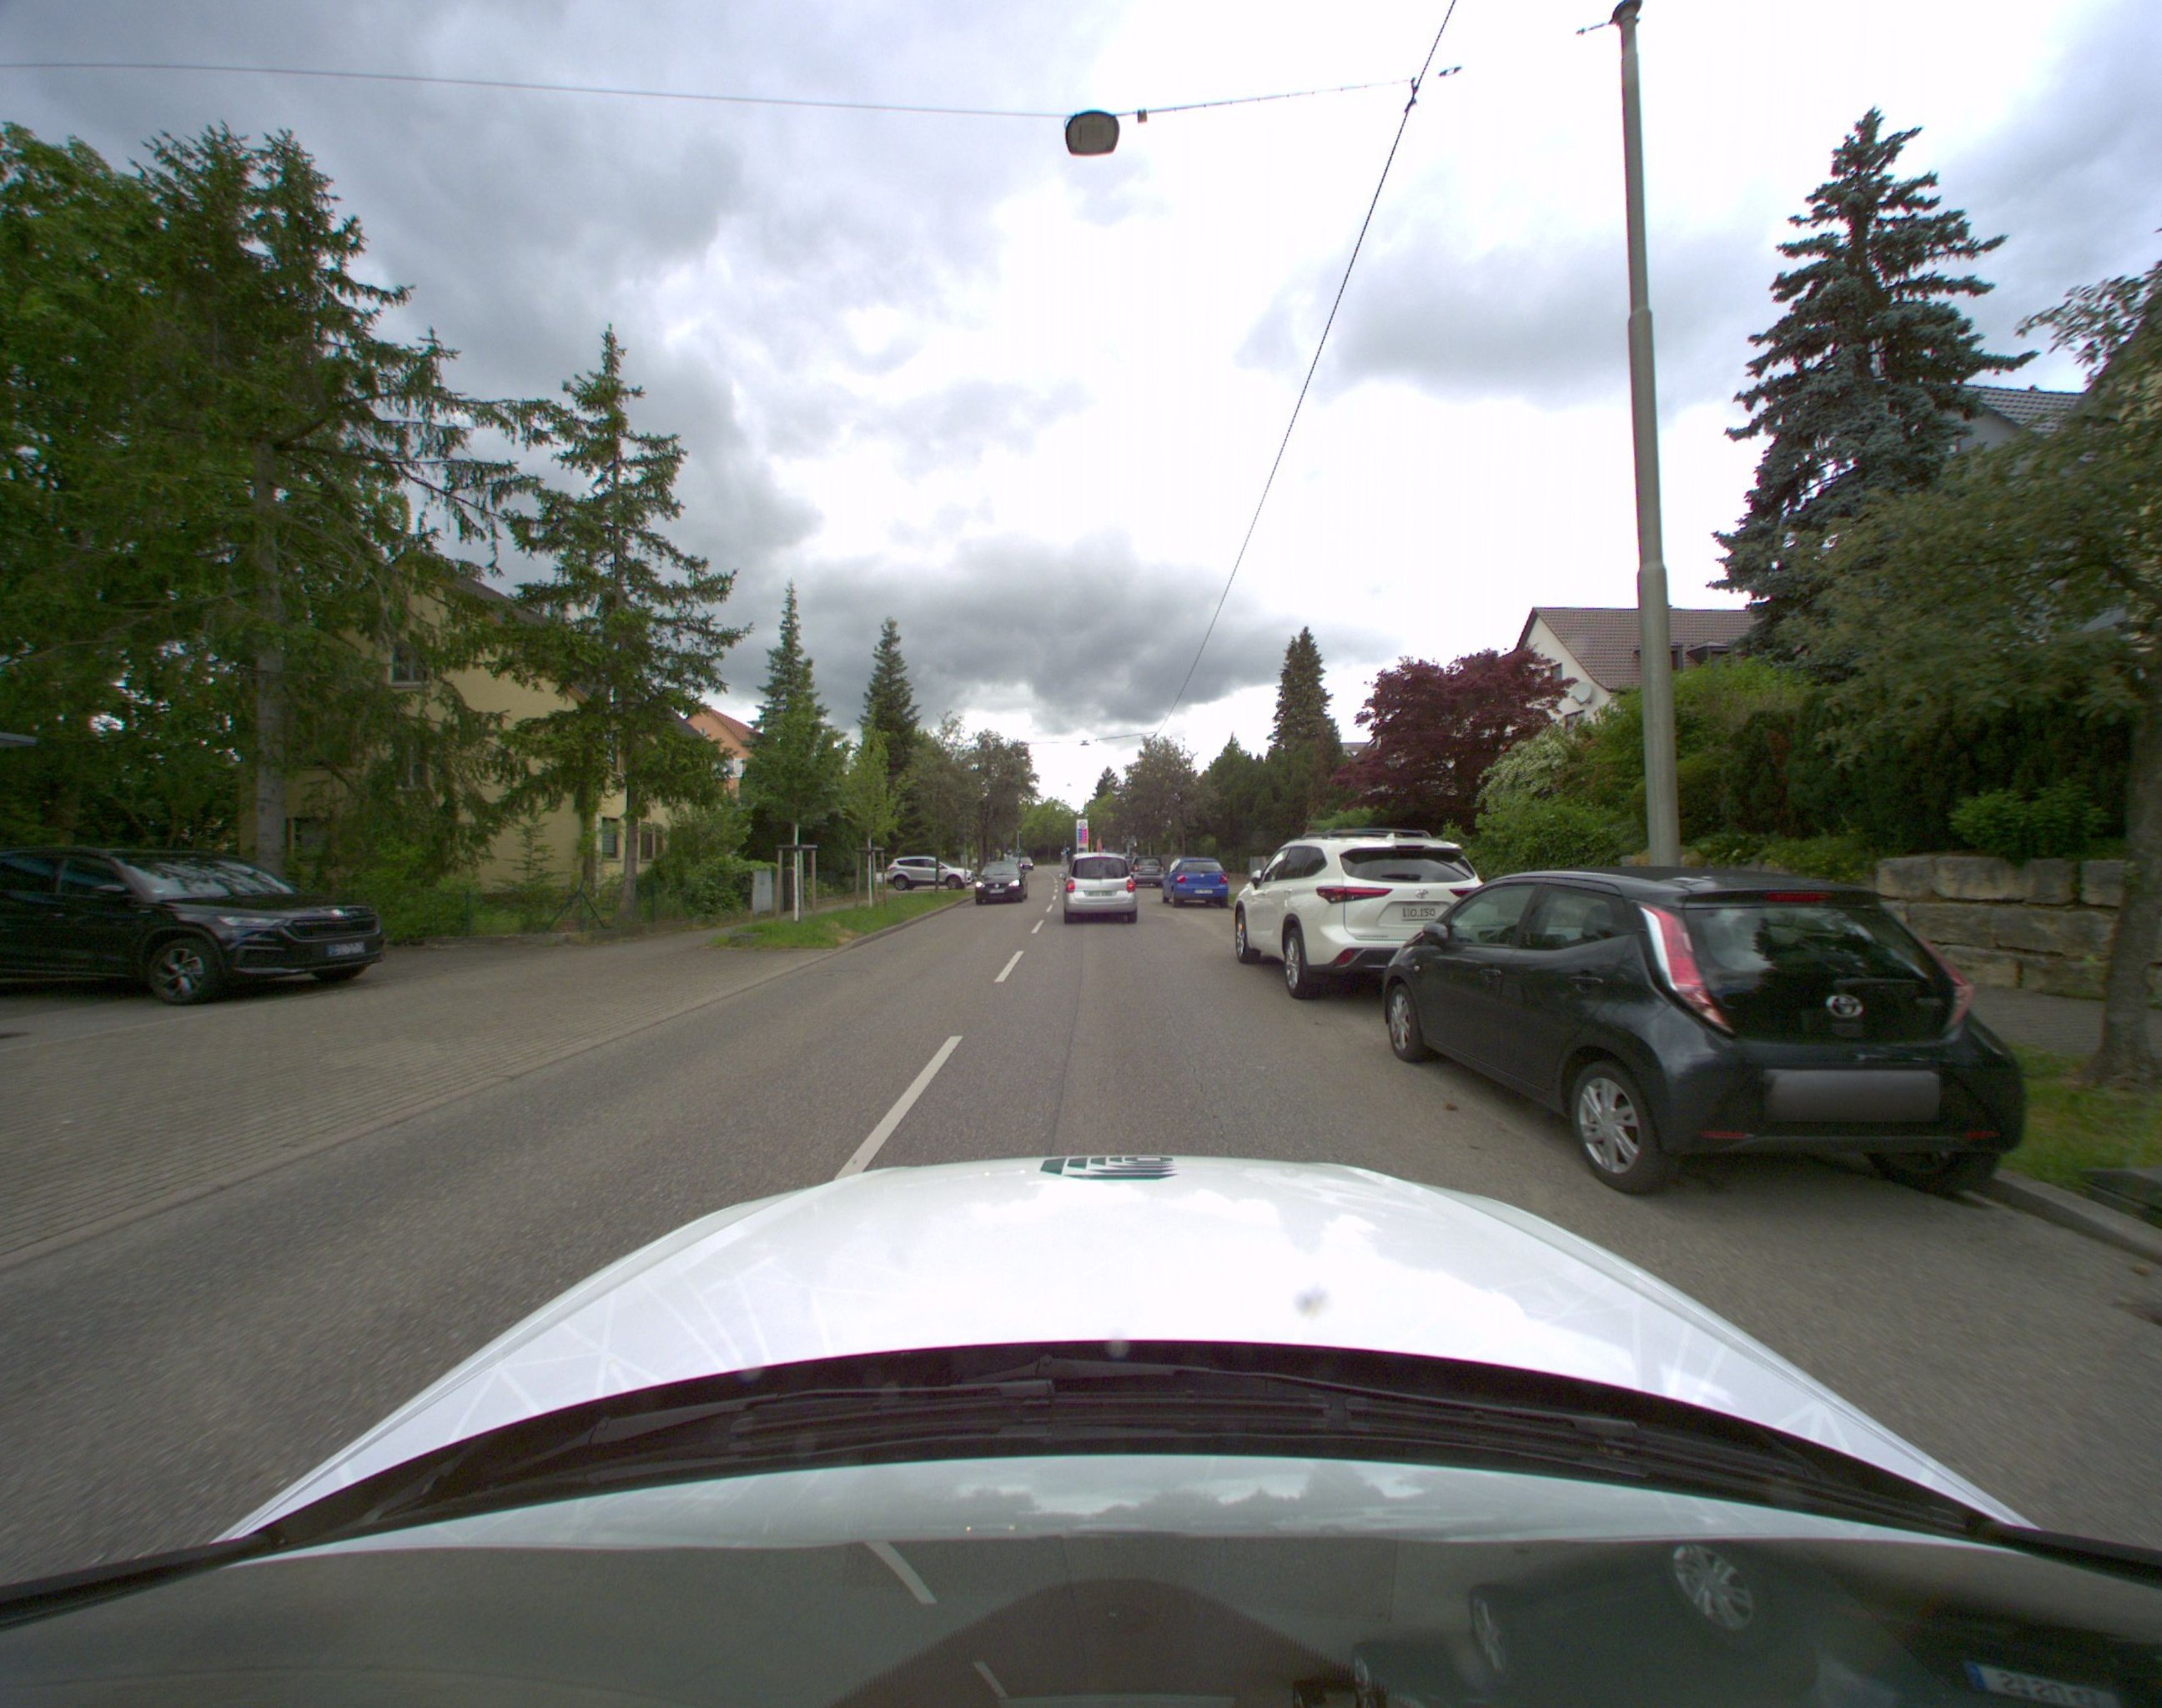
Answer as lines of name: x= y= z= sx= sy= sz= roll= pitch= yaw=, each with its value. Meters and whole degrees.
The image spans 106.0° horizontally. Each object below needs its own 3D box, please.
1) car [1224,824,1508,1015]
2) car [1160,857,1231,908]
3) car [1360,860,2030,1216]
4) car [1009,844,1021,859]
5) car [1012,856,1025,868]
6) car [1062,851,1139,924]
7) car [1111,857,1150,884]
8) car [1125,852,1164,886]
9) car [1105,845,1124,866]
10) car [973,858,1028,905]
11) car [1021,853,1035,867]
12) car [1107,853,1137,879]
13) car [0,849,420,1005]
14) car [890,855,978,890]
car: x=3.087 y=0.618 z=9.970 sx=1.794 sy=1.778 sz=4.703 roll=0 pitch=0 yaw=-1
car: x=3.456 y=0.813 z=25.210 sx=1.622 sy=1.452 sz=3.874 roll=0 pitch=0 yaw=-1
car: x=3.150 y=0.768 z=5.123 sx=1.554 sy=1.443 sz=3.505 roll=0 pitch=0 yaw=-1
car: x=-11.282 y=-0.400 z=139.608 sx=1.931 sy=2.408 sz=3.993 roll=-1 pitch=0 yaw=-5
car: x=-8.619 y=1.115 z=112.584 sx=1.790 sy=1.555 sz=3.666 roll=-3 pitch=0 yaw=-4
car: x=0.455 y=0.737 z=19.378 sx=1.673 sy=1.560 sz=3.512 roll=0 pitch=0 yaw=1
car: x=2.775 y=0.915 z=46.412 sx=1.693 sy=1.433 sz=4.335 roll=-1 pitch=0 yaw=-3
car: x=3.124 y=0.700 z=40.759 sx=1.689 sy=1.557 sz=3.957 roll=-2 pitch=0 yaw=2
car: x=4.810 y=0.225 z=117.387 sx=2.276 sy=2.911 sz=5.273 roll=0 pitch=0 yaw=-3
car: x=-2.804 y=0.931 z=29.002 sx=1.570 sy=1.472 sz=3.469 roll=-3 pitch=0 yaw=-1
car: x=-5.922 y=0.663 z=91.085 sx=1.542 sy=1.470 sz=3.737 roll=0 pitch=0 yaw=-4
car: x=2.576 y=0.735 z=51.749 sx=1.690 sy=1.570 sz=3.954 roll=0 pitch=0 yaw=-1
car: x=-10.720 y=0.768 z=9.578 sx=4.315 sy=1.618 sz=1.975 roll=0 pitch=-1 yaw=3
car: x=-7.428 y=0.937 z=41.473 sx=4.069 sy=1.706 sz=1.749 roll=0 pitch=0 yaw=3
